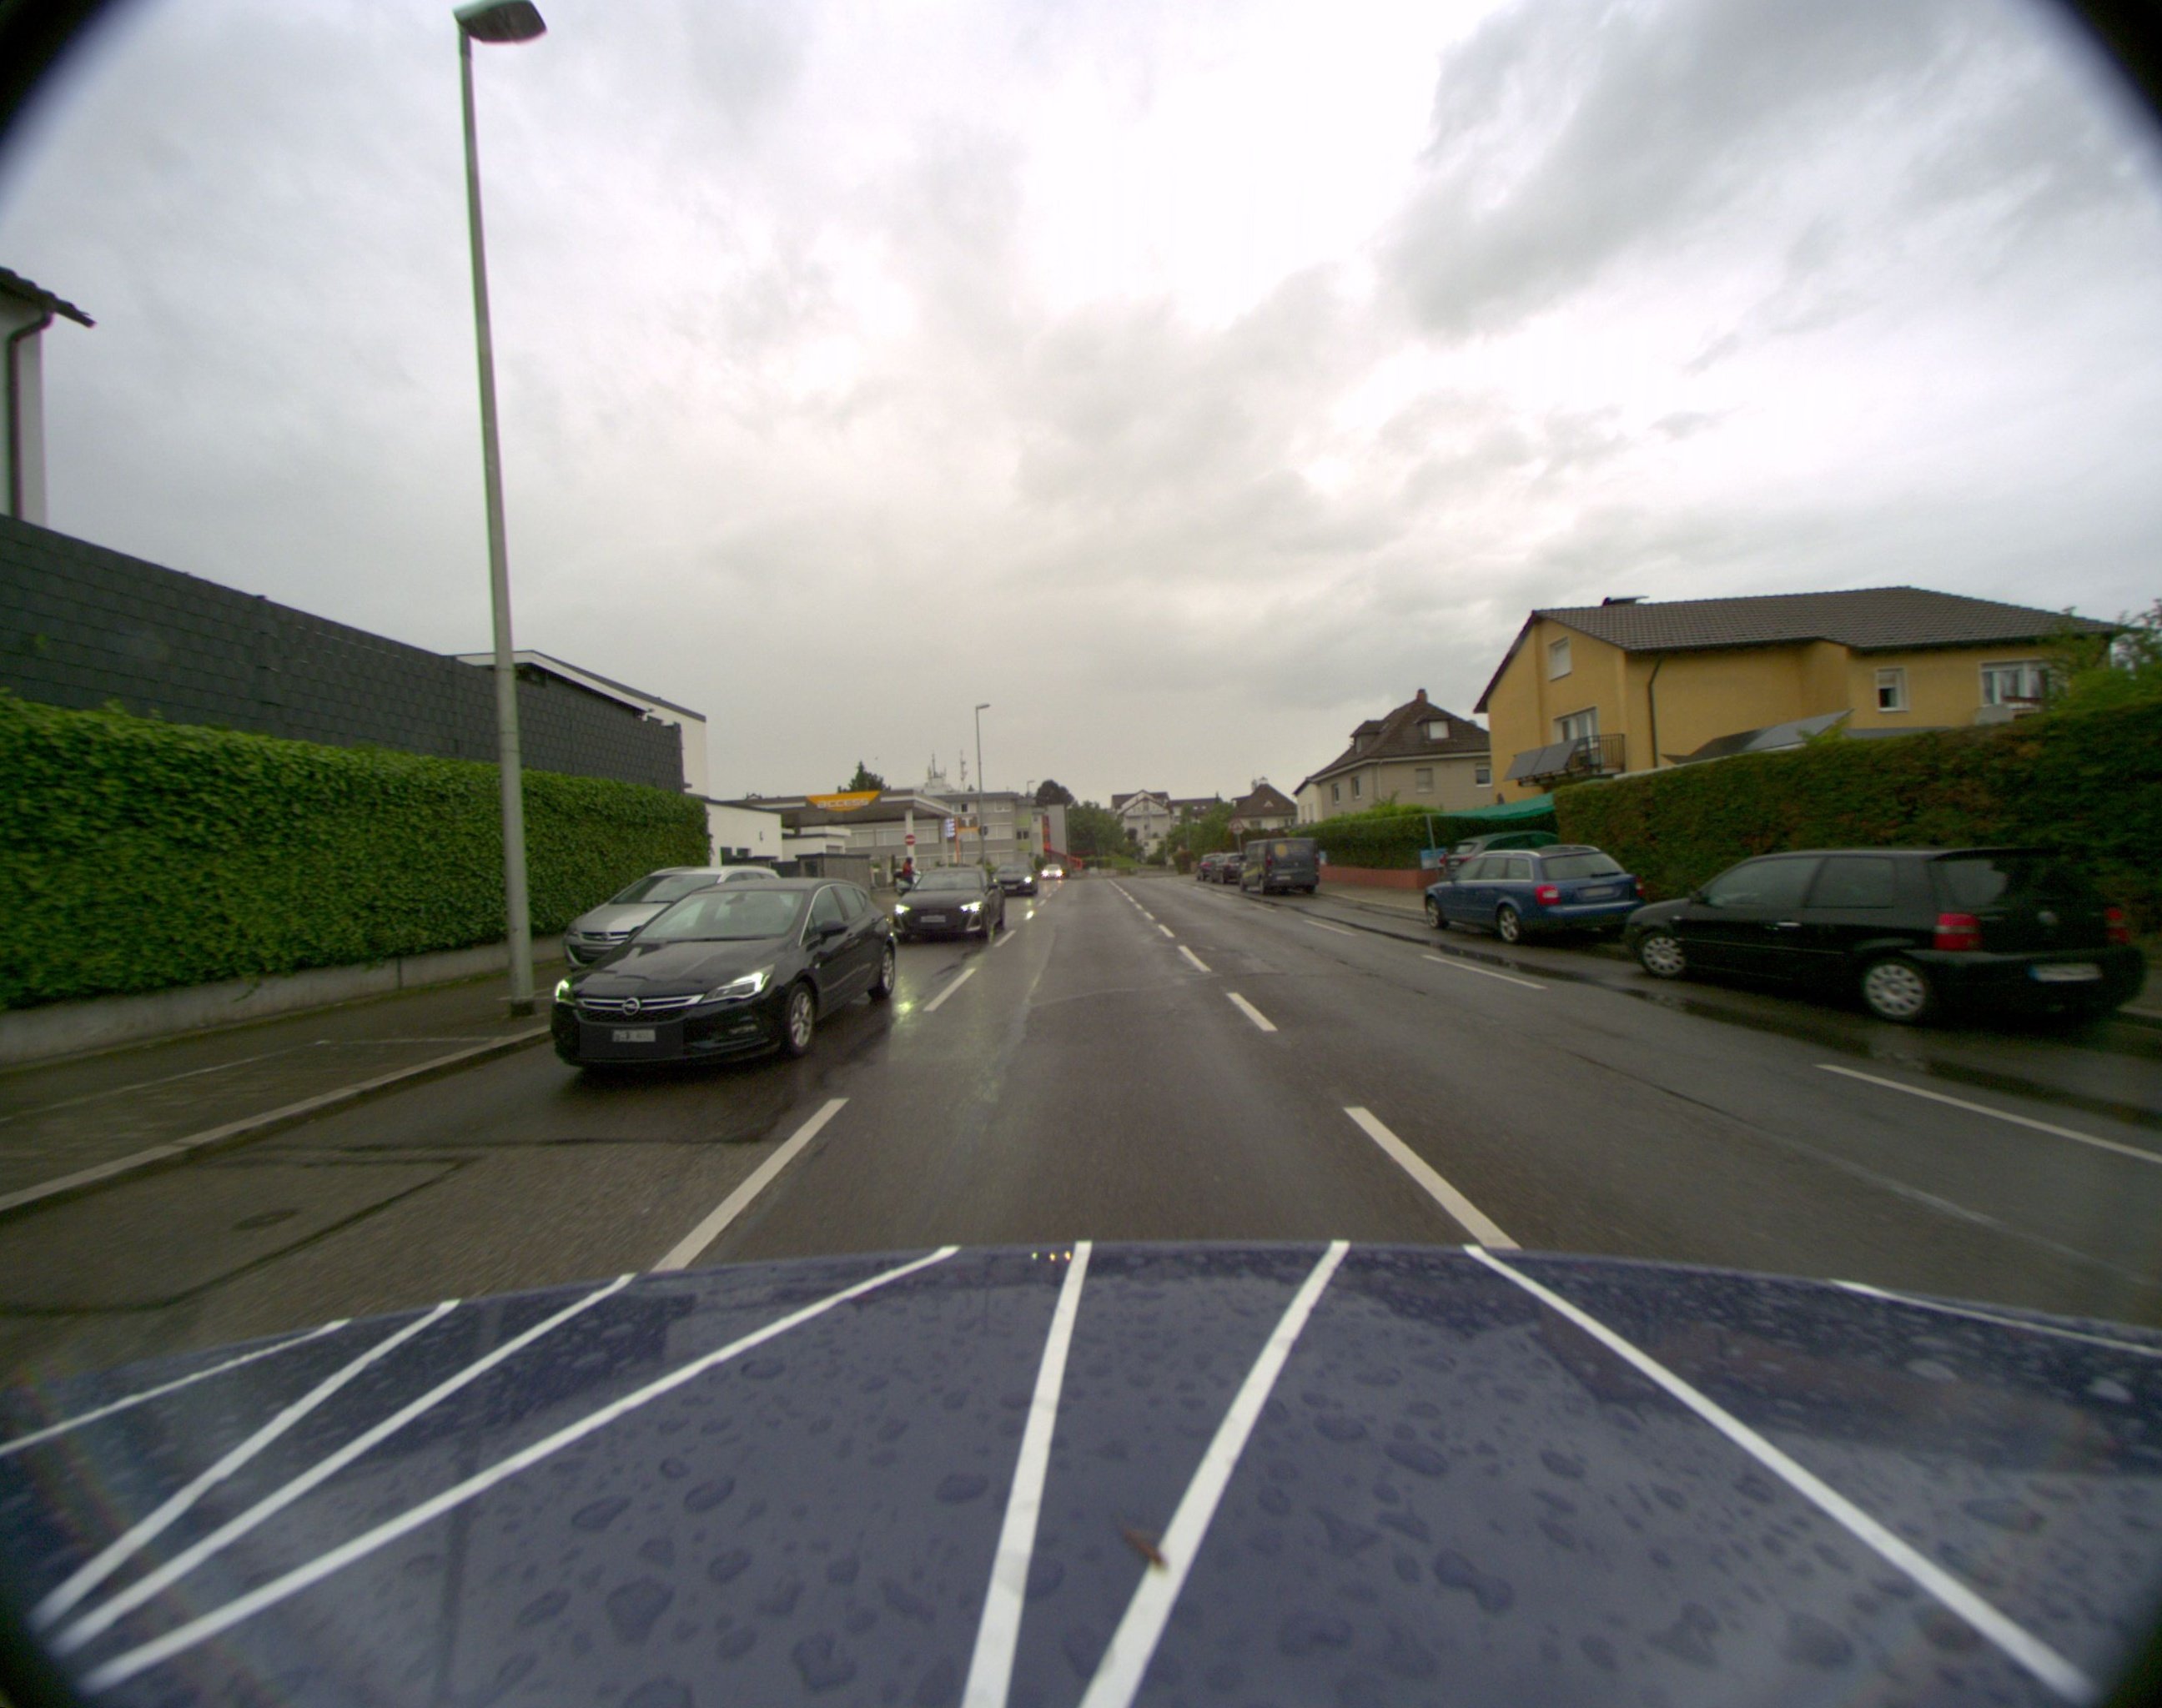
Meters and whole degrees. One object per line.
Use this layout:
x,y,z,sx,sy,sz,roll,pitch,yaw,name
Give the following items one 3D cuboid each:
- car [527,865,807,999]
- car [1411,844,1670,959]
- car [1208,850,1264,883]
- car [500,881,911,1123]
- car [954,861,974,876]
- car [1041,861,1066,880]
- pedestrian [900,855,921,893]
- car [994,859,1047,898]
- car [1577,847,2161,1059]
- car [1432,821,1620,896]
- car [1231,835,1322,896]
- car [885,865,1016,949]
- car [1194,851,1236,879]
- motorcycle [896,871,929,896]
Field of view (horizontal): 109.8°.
-5.966,1.004,11.716,1.704,1.501,4.534,-3,0,1,car
7.373,0.655,12.795,1.761,1.524,4.286,-3,0,1,car
7.761,0.597,38.394,1.755,1.508,4.527,-3,0,-1,car
-3.041,1.097,7.247,1.760,1.441,4.000,-3,0,2,car
-11.803,1.447,76.826,1.815,1.518,3.997,1,0,-7,car
-2.602,1.561,72.095,1.998,1.647,4.000,-3,0,2,car
-7.588,0.898,33.783,0.584,1.646,0.613,-2,1,29,pedestrian
-2.652,1.040,34.047,1.872,1.510,4.000,-3,0,1,car
7.018,0.690,7.394,1.555,1.423,4.013,-3,0,-3,car
12.210,0.110,21.073,3.969,1.604,1.918,-6,0,2,car
7.154,0.384,28.332,1.918,1.991,5.087,-3,0,-1,car
-2.680,1.034,16.780,1.871,1.416,4.739,-3,0,2,car
7.779,0.608,44.513,1.754,1.431,4.129,-3,0,1,car
-7.476,1.302,33.669,1.387,1.049,0.464,-2,1,29,motorcycle
